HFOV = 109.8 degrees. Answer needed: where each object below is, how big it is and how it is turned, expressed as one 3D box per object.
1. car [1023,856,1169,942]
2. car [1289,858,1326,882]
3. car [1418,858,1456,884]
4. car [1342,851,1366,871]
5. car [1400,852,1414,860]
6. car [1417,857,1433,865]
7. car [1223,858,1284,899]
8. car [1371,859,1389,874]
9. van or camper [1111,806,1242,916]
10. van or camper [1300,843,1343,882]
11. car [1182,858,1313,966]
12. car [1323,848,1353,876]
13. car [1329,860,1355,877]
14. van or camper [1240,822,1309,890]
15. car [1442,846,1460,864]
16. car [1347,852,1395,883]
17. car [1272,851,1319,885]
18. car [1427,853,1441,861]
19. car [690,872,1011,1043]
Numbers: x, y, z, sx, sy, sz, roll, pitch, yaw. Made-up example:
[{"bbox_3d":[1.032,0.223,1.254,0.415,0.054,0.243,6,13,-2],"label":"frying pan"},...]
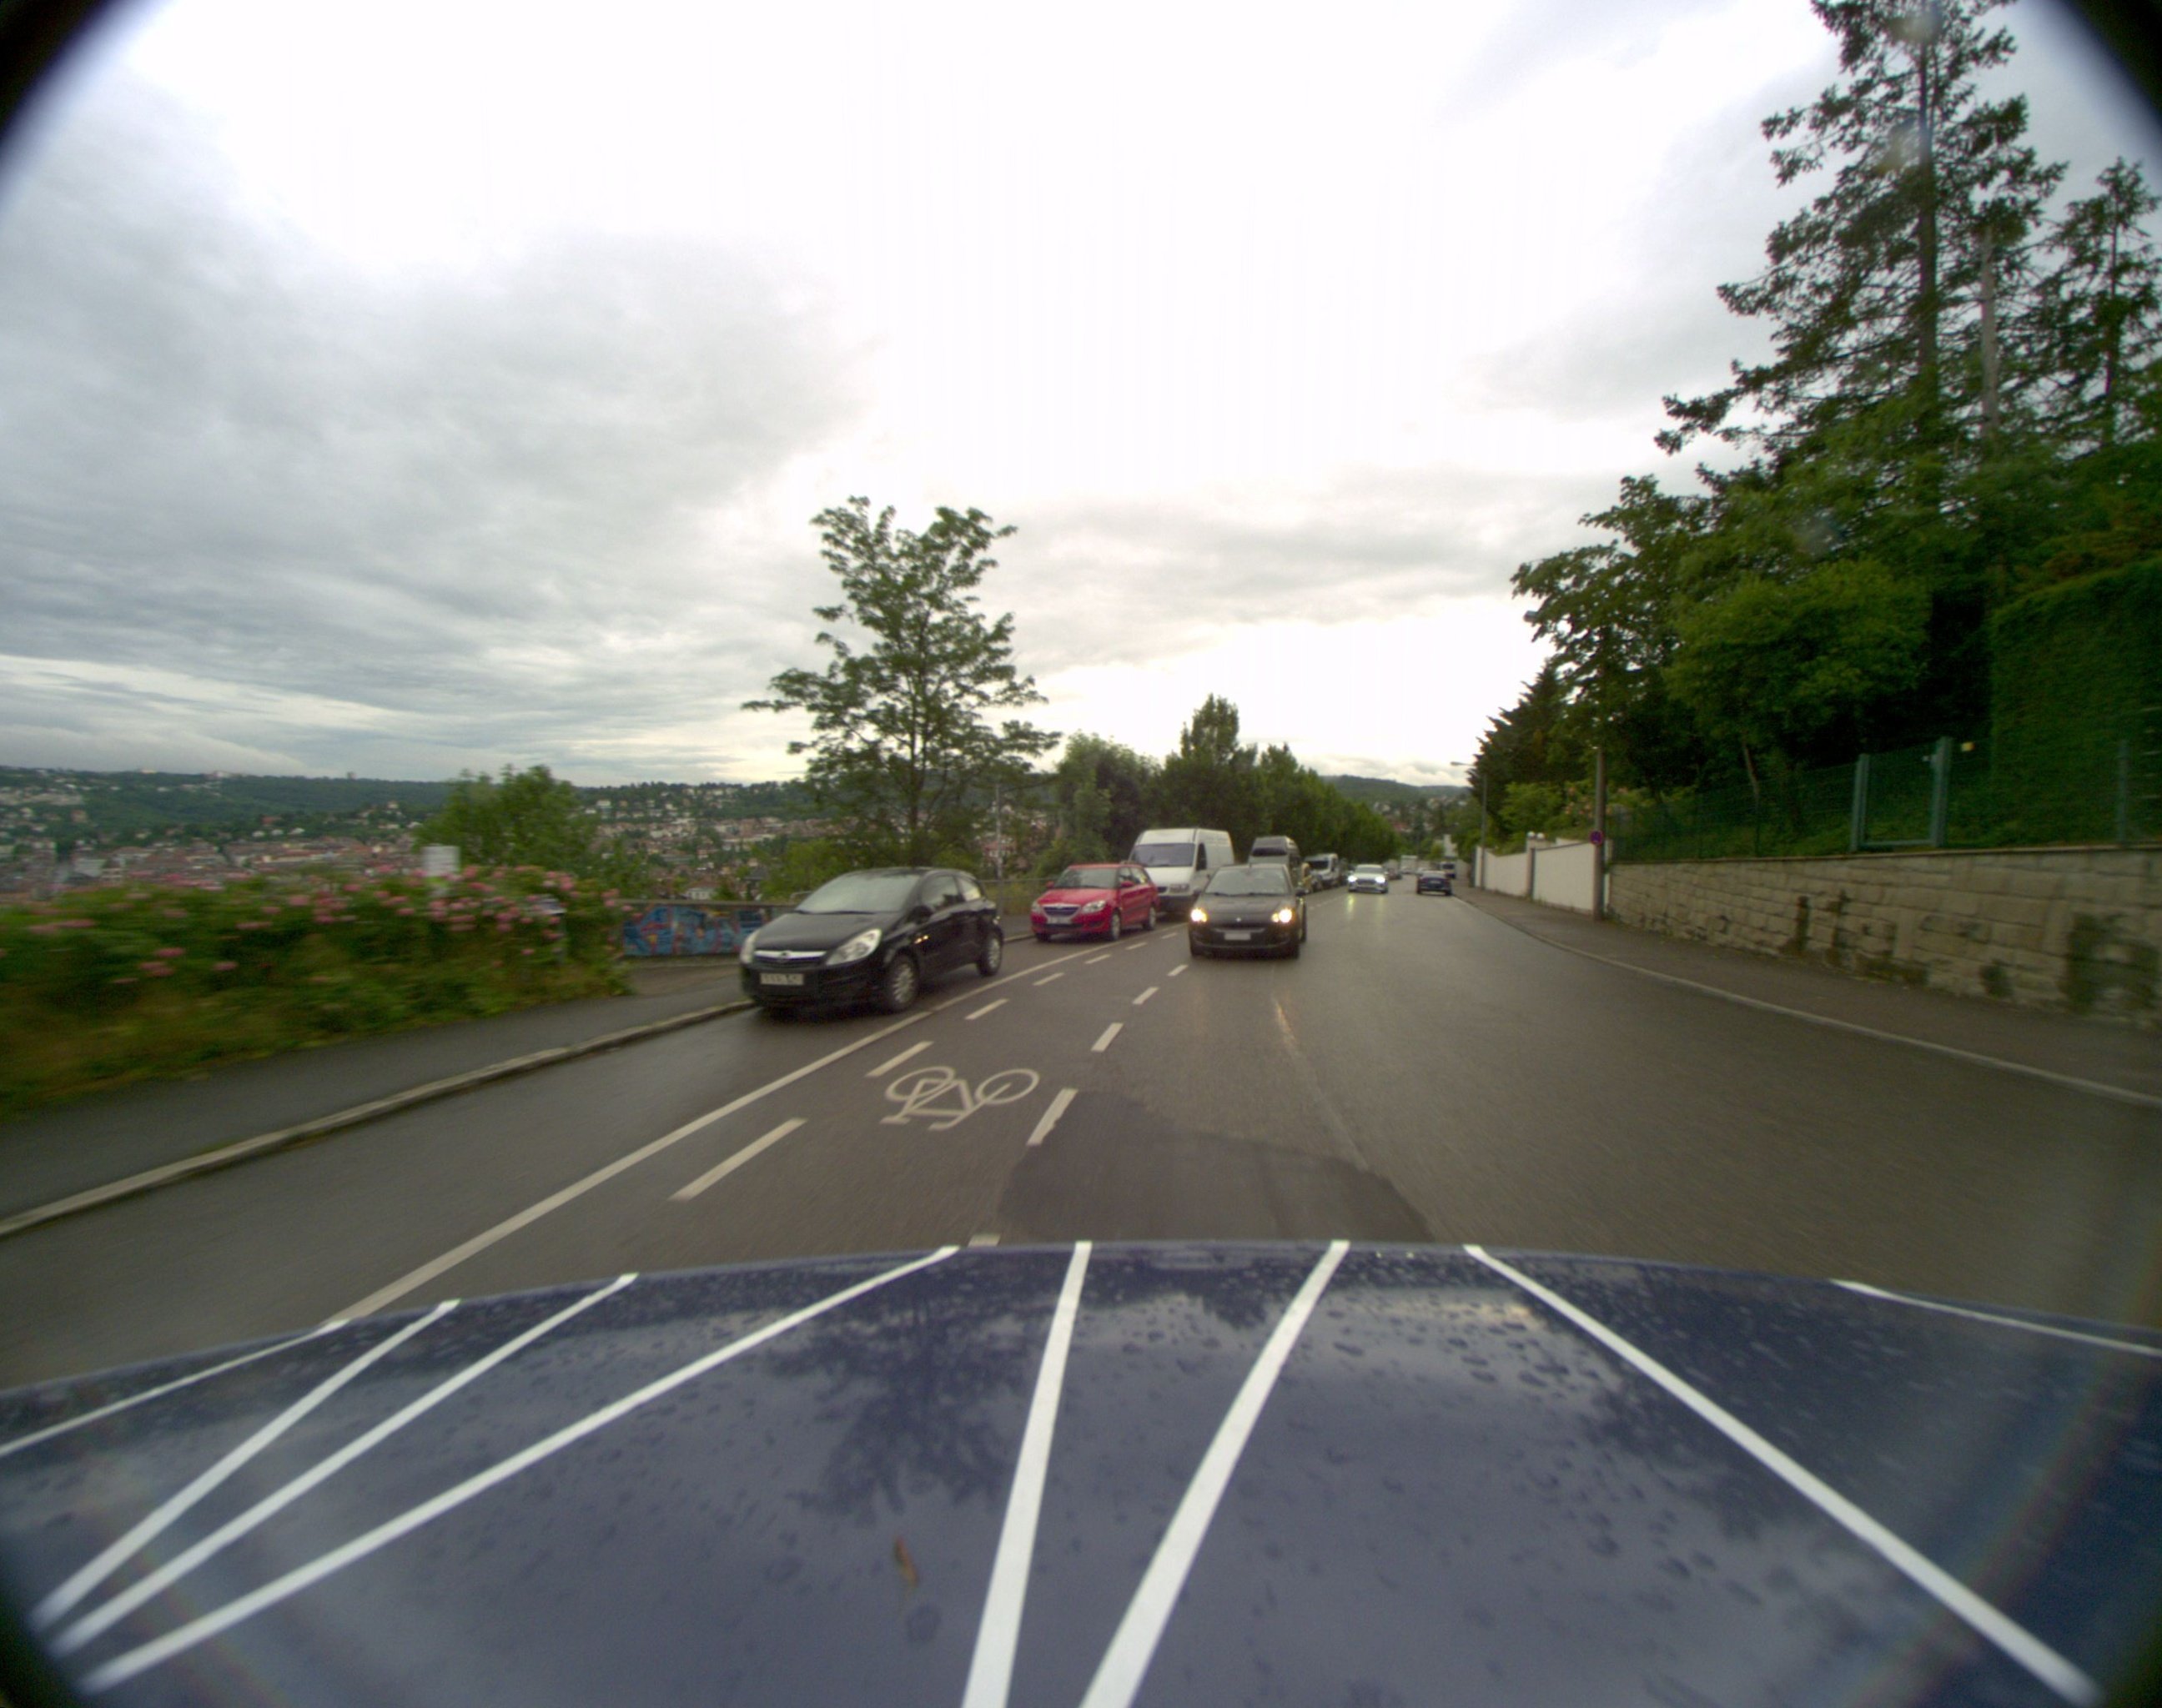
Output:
[{"bbox_3d":[0.468,0.817,15.758,1.622,1.531,4.222,-1,0,22],"label":"car"},{"bbox_3d":[14.095,0.985,47.139,1.722,1.366,4.410,-2,-1,23],"label":"car"},{"bbox_3d":[20.867,0.958,44.643,1.808,1.421,4.261,2,0,23],"label":"car"},{"bbox_3d":[25.939,0.679,72.110,1.722,1.843,4.411,-2,-1,25],"label":"car"},{"bbox_3d":[65.788,0.374,153.274,1.849,1.488,3.771,0,0,11],"label":"car"},{"bbox_3d":[63.768,1.271,141.053,1.849,1.489,3.771,1,1,11],"label":"car"},{"bbox_3d":[6.973,0.941,30.411,1.683,1.531,3.840,0,0,24],"label":"car"},{"bbox_3d":[35.820,1.487,91.017,1.722,1.618,4.411,-2,-1,25],"label":"car"},{"bbox_3d":[2.854,0.200,21.244,2.075,2.645,5.606,-1,-1,24],"label":"van or camper"},{"bbox_3d":[16.889,0.628,53.151,2.166,2.540,5.626,-2,-1,24],"label":"van or camper"},{"bbox_3d":[3.016,0.830,13.058,1.781,1.477,4.411,1,0,17],"label":"car"},{"bbox_3d":[20.542,0.641,60.589,1.722,2.125,4.411,-2,-1,25],"label":"car"},{"bbox_3d":[23.334,1.273,67.749,1.722,1.426,4.333,-2,-1,25],"label":"car"},{"bbox_3d":[9.197,0.121,35.720,2.126,2.892,5.738,-1,-1,24],"label":"van or camper"},{"bbox_3d":[53.474,0.142,109.718,2.105,2.468,4.573,2,1,28],"label":"car"},{"bbox_3d":[16.705,0.737,43.635,2.187,1.698,4.891,0,0,25],"label":"car"},{"bbox_3d":[11.831,0.774,41.777,1.722,1.738,4.411,-2,-1,25],"label":"car"},{"bbox_3d":[62.247,0.504,134.043,1.848,1.489,3.772,0,0,18],"label":"car"},{"bbox_3d":[-2.327,0.997,8.851,1.697,1.435,3.952,-2,-1,15],"label":"car"}]
